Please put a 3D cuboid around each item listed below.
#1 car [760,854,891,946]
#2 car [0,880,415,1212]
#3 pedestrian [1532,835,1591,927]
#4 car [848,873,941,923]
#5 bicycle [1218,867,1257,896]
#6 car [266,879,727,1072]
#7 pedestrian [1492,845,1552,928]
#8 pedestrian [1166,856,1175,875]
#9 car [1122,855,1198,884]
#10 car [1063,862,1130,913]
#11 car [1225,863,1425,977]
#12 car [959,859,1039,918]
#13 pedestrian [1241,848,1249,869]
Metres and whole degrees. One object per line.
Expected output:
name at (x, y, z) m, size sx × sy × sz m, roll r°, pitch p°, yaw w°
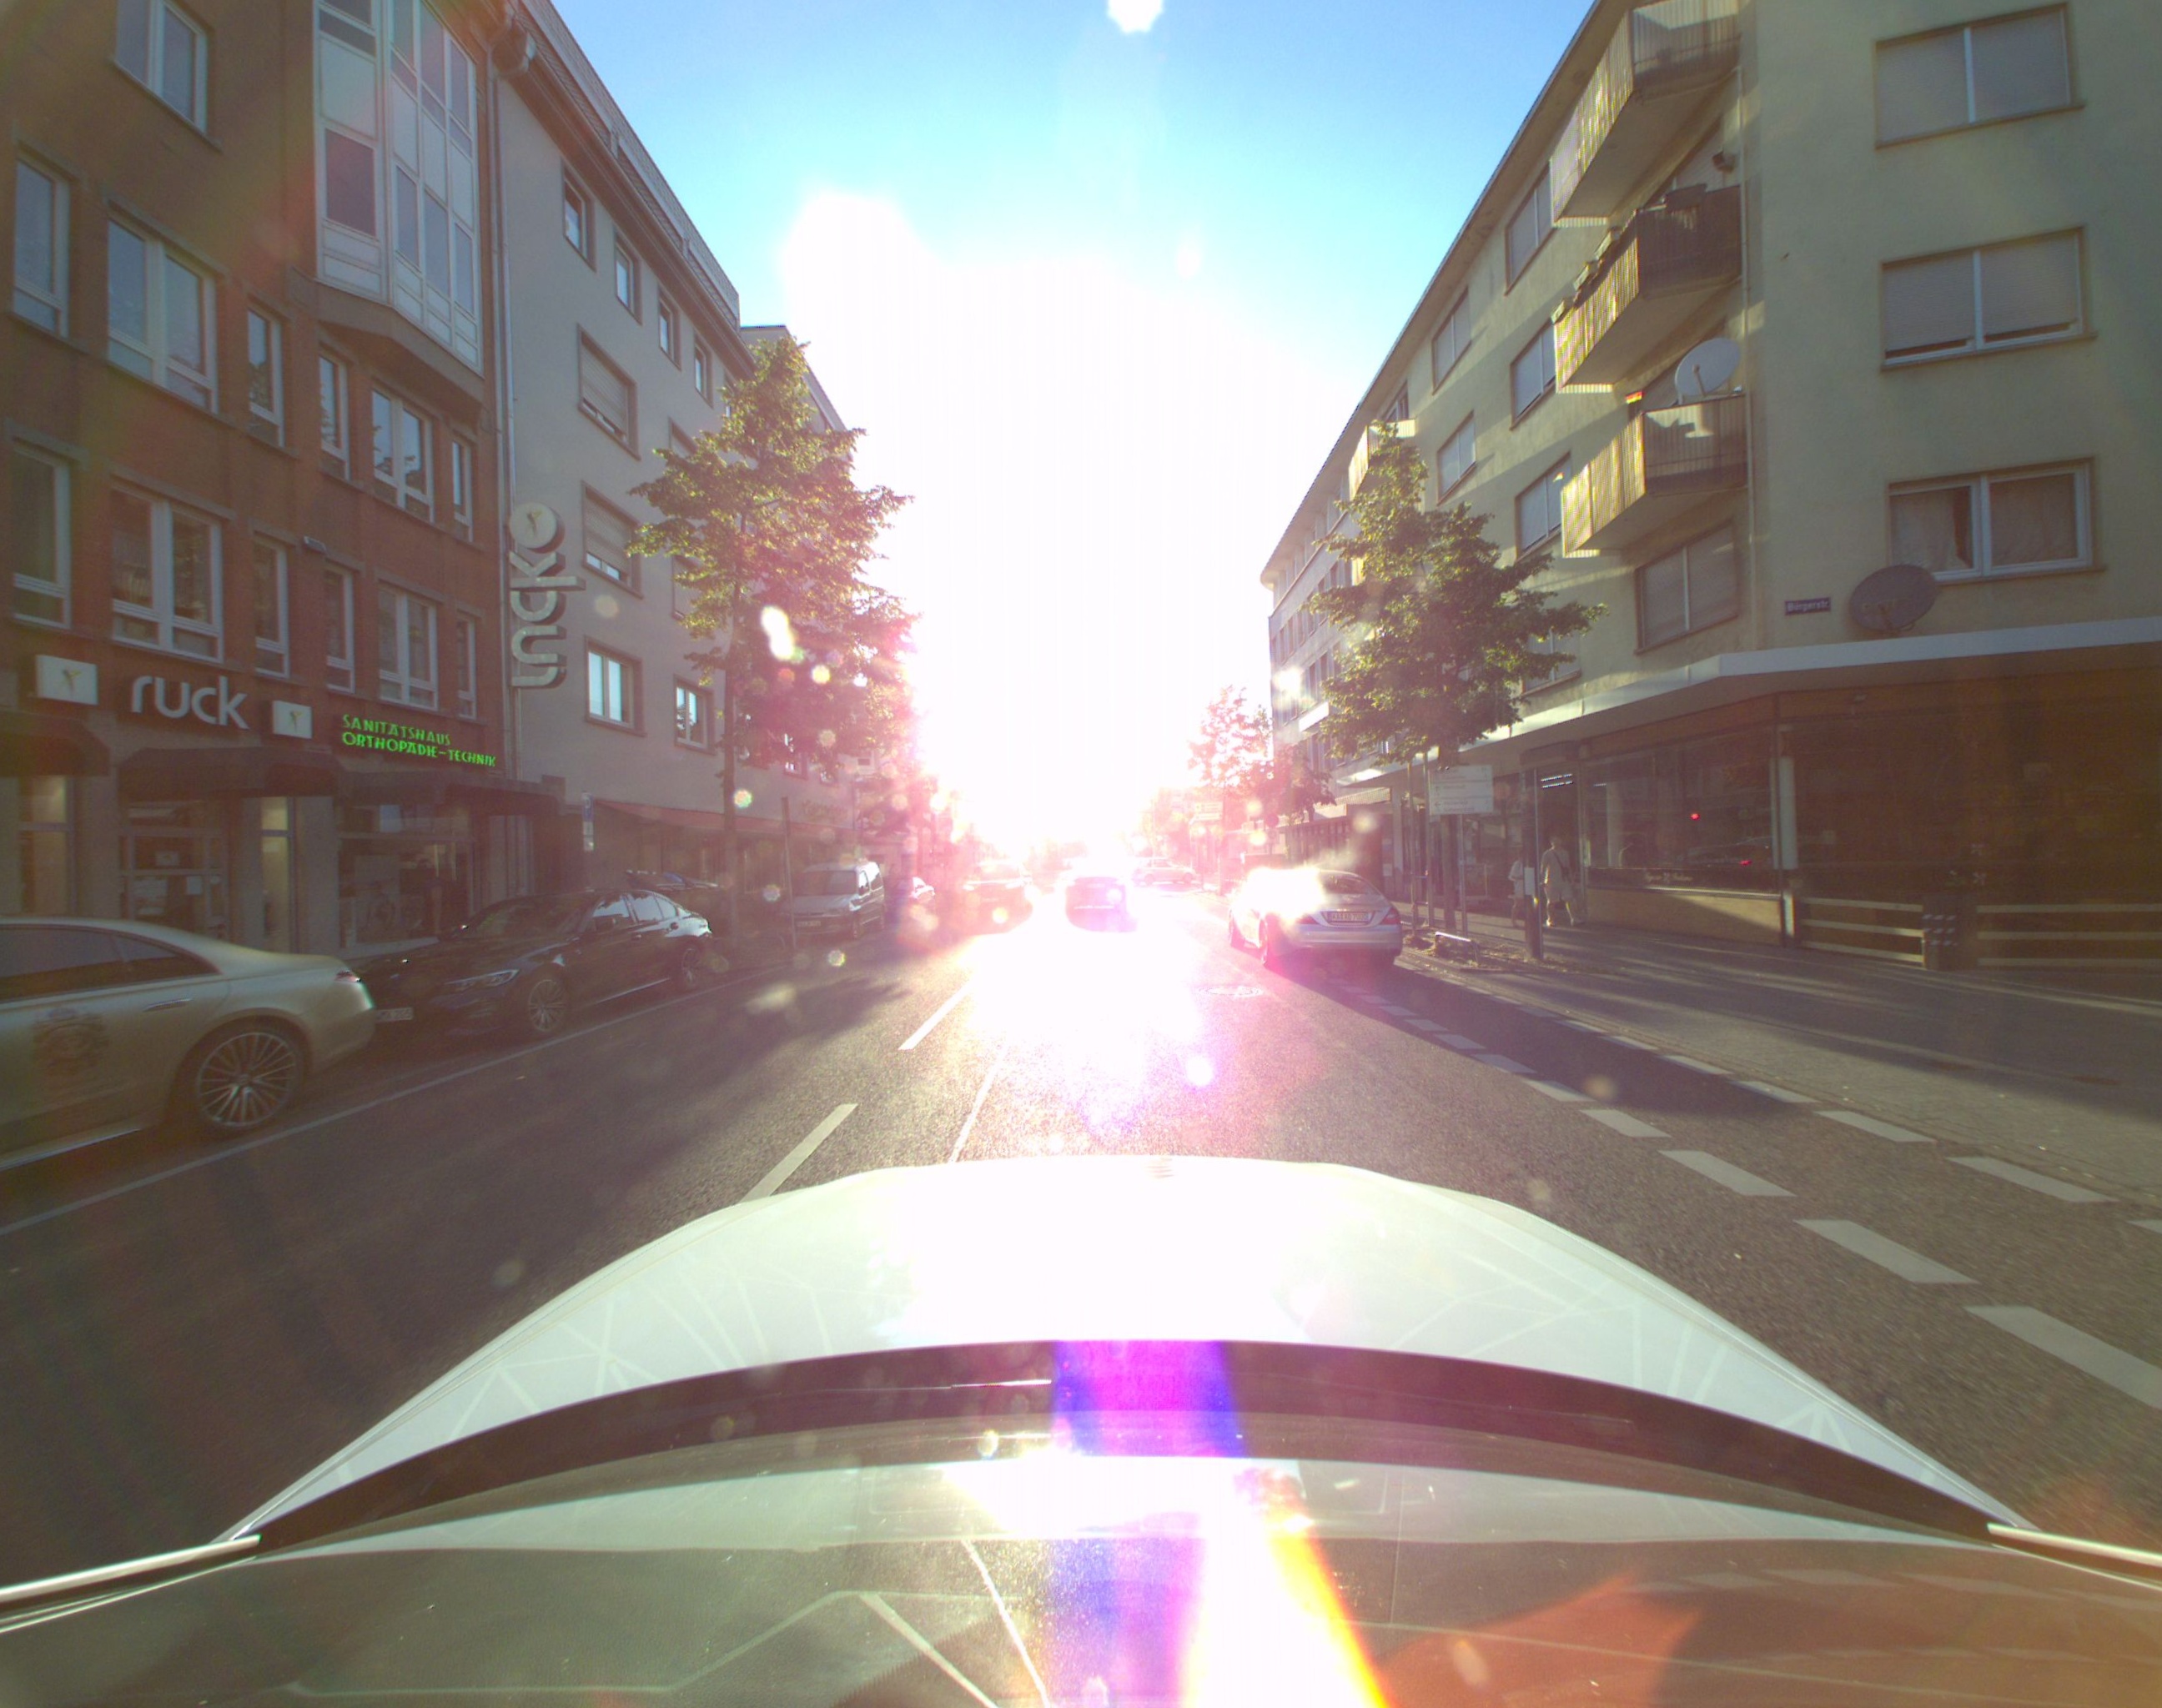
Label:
car at (-5.803, 0.977, 19.052) m, size 1.828 × 1.854 × 4.120 m, roll -1°, pitch -1°, yaw -2°
car at (-6.258, 1.035, 3.812) m, size 1.820 × 1.556 × 5.138 m, roll -3°, pitch 0°, yaw 2°
pedestrian at (9.338, 0.512, 15.843) m, size 0.684 × 1.721 × 0.718 m, roll -3°, pitch -1°, yaw 7°
car at (-5.586, 1.283, 24.903) m, size 1.827 × 1.328 × 4.123 m, roll -1°, pitch -1°, yaw 0°
bicycle at (6.352, 1.104, 33.074) m, size 1.532 × 1.145 × 0.382 m, roll 0°, pitch 1°, yaw 2°
car at (-6.046, 1.121, 9.315) m, size 1.820 × 1.439 × 4.555 m, roll -4°, pitch -1°, yaw 1°
pedestrian at (8.621, 0.627, 15.953) m, size 0.685 × 1.559 × 0.863 m, roll -2°, pitch -1°, yaw 1°
pedestrian at (7.717, 0.983, 70.263) m, size 0.576 × 1.644 × 0.524 m, roll -2°, pitch 1°, yaw -20°
car at (4.877, 0.938, 50.266) m, size 4.331 × 1.602 × 1.913 m, roll -2°, pitch 1°, yaw -24°
car at (0.500, 0.976, 25.290) m, size 1.876 × 1.415 × 4.327 m, roll -1°, pitch 0°, yaw 2°
car at (3.559, 0.878, 12.824) m, size 1.915 × 1.415 × 4.550 m, roll 1°, pitch 0°, yaw 2°
car at (-2.489, 1.011, 25.823) m, size 1.915 × 1.602 × 4.327 m, roll -1°, pitch 1°, yaw 2°
pedestrian at (13.873, 0.379, 68.946) m, size 0.496 × 1.715 × 0.459 m, roll -2°, pitch 1°, yaw -19°
